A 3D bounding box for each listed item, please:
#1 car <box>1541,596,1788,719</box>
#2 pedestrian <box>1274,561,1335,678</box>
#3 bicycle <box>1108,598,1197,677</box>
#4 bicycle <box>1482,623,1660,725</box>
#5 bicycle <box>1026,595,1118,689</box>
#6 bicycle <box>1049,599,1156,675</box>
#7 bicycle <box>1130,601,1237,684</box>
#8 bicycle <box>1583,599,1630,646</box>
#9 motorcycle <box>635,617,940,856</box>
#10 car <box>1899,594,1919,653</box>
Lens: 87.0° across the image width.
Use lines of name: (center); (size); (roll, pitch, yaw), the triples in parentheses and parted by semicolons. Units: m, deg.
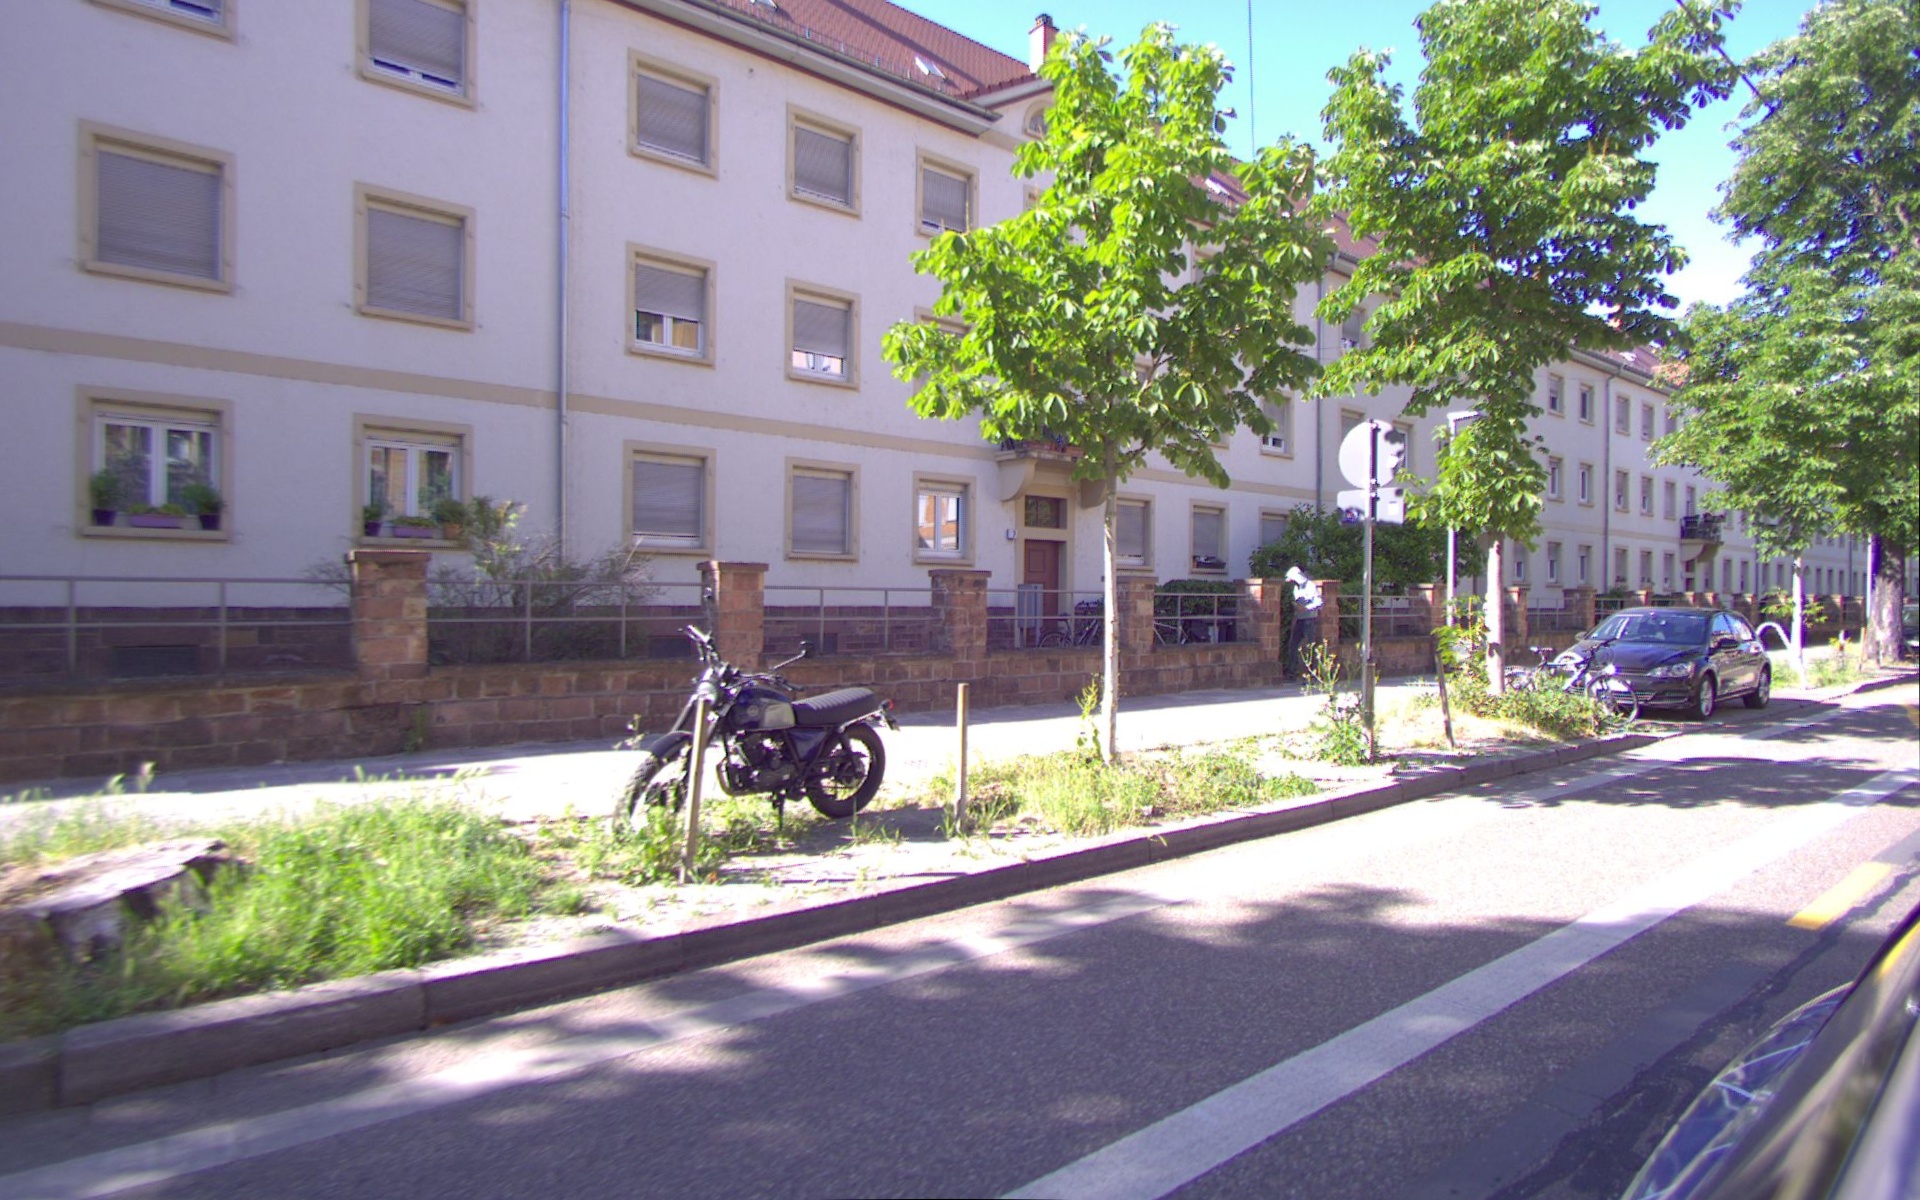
car: (10.087, 0.713, 14.403); (3.970, 1.482, 1.792); (0, 1, -38)
pedestrian: (5.280, 0.288, 15.541); (0.568, 1.747, 0.766); (0, -1, -8)
bicycle: (2.999, 0.561, 15.718); (1.545, 1.167, 0.442); (0, -1, -38)
bicycle: (7.643, 0.888, 12.736); (0.610, 1.080, 1.796); (1, 2, -42)
bicycle: (1.596, 0.574, 14.304); (1.397, 1.277, 0.349); (0, -1, -34)
bicycle: (2.300, 0.570, 16.198); (1.882, 1.167, 0.546); (0, -1, -38)
bicycle: (3.344, 0.602, 15.074); (1.882, 1.167, 0.449); (0, 0, -38)
bicycle: (18.053, 0.615, 28.231); (1.709, 1.235, 0.544); (0, 1, -38)
motorcycle: (-0.981, 0.732, 6.143); (0.495, 1.205, 1.832); (6, 4, 44)
car: (26.355, 0.634, 26.708); (4.169, 1.492, 1.724); (0, 1, -39)
